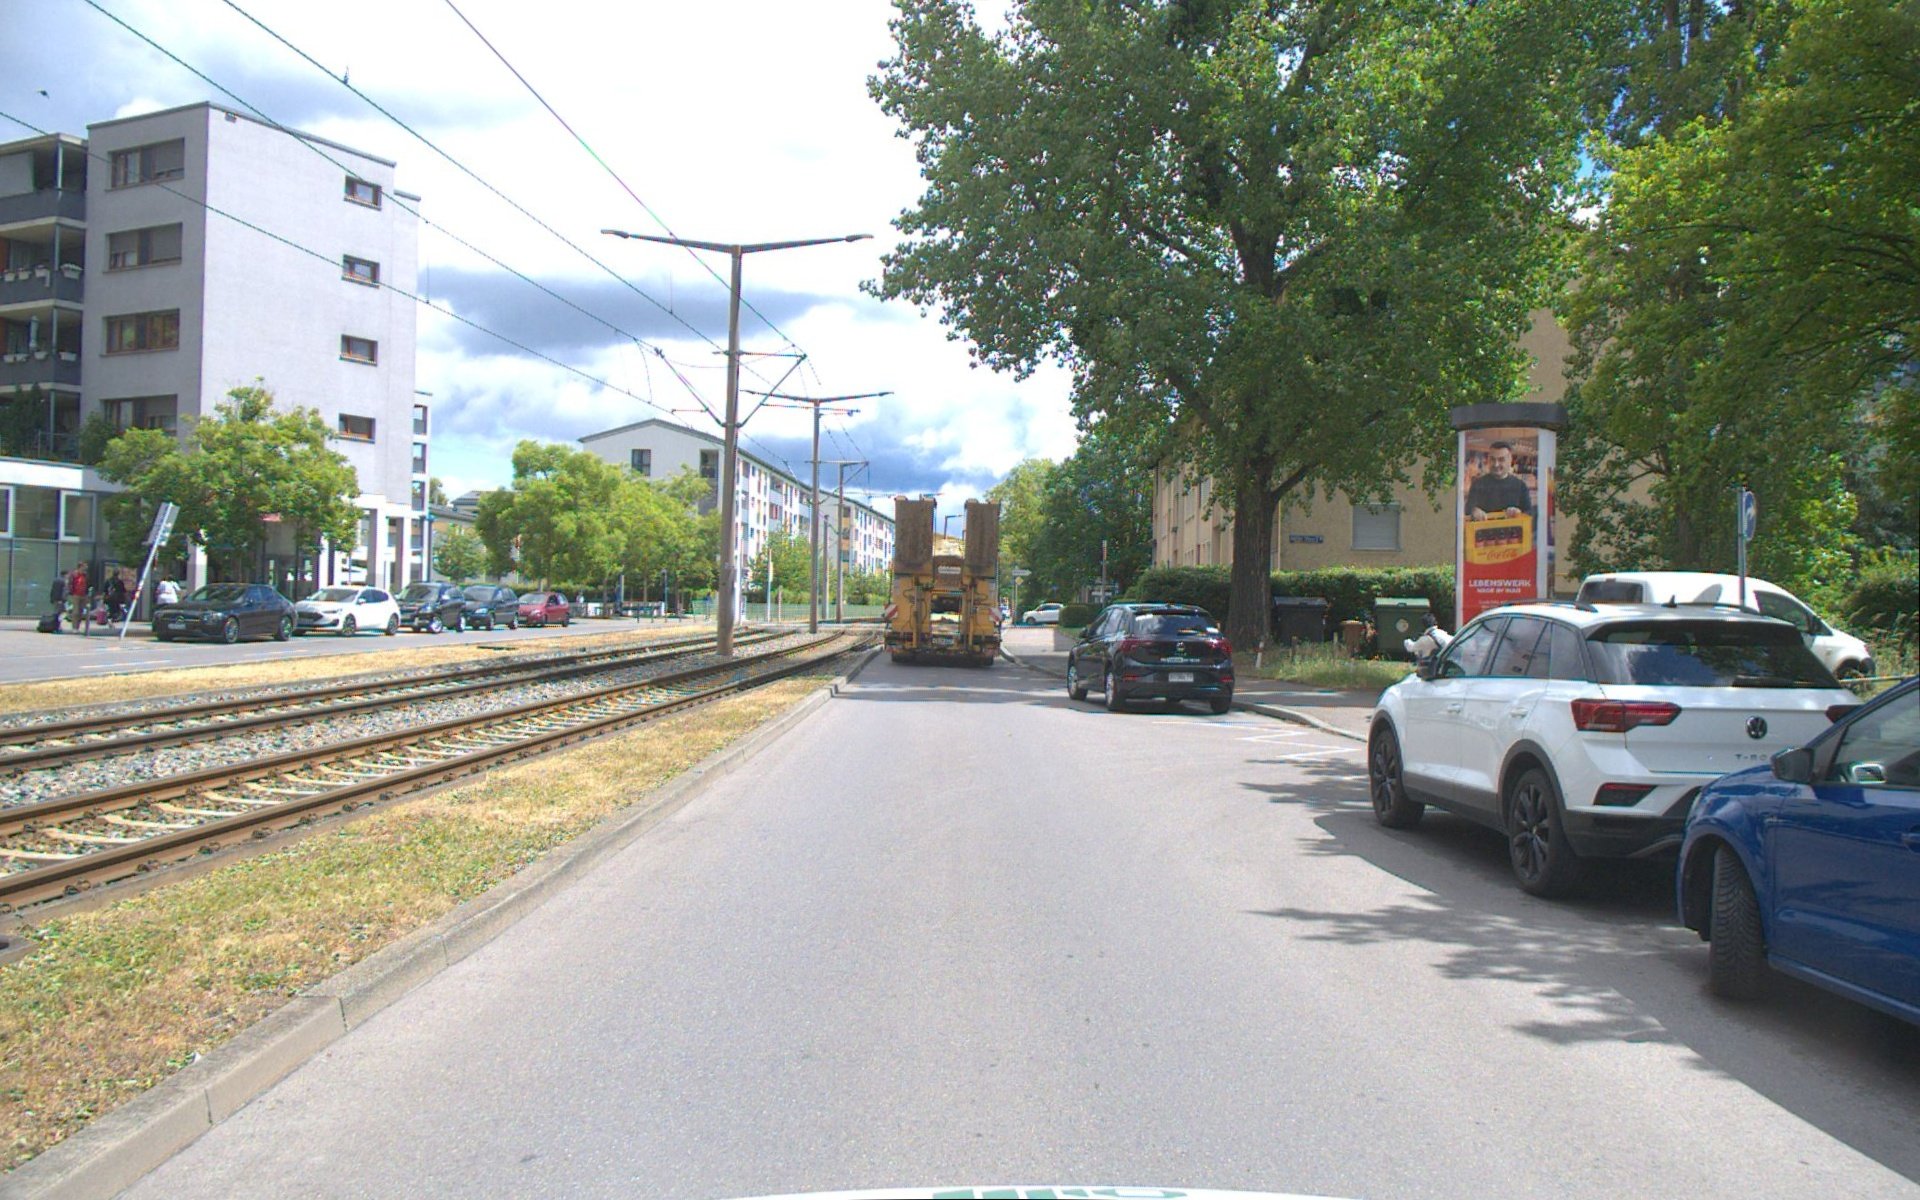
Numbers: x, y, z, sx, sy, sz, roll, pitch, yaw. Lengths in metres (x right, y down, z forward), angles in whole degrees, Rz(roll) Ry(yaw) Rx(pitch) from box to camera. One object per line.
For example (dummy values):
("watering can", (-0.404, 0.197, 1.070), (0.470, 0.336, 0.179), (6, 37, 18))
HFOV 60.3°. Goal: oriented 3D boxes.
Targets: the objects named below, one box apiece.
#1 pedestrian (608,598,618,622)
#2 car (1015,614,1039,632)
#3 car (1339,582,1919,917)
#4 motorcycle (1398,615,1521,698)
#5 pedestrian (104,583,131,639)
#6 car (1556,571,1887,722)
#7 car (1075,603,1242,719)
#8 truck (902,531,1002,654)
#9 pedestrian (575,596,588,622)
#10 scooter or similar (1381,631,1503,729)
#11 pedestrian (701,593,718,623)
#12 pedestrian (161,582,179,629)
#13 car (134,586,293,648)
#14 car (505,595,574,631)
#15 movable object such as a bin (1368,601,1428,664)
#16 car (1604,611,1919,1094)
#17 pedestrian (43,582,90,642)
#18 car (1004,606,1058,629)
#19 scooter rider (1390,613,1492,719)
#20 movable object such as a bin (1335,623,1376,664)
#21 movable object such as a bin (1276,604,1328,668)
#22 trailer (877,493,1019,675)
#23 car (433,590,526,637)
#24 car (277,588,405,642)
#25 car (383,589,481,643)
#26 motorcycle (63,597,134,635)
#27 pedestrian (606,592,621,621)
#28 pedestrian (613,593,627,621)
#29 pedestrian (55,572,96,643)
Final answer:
("pedestrian", (-19.123, 0.543, 91.180), (0.492, 1.289, 0.497), (0, 0, -21))
("car", (5.557, 1.908, 137.299), (1.952, 1.411, 4.001), (0, 0, 1))
("car", (3.852, 0.696, 10.217), (1.748, 1.592, 4.567), (0, 0, -3))
("motorcycle", (7.708, 0.854, 25.539), (1.769, 1.231, 0.708), (0, 0, -21))
("pedestrian", (-24.232, 0.306, 47.570), (0.655, 1.601, 0.683), (0, 0, -26))
("car", (10.047, 0.554, 21.845), (3.931, 1.854, 1.799), (0, 0, -22))
("car", (2.702, 0.790, 23.343), (1.778, 1.474, 3.825), (0, 0, -2))
("truck", (-0.248, -0.233, 49.821), (2.776, 3.388, 7.983), (0, 0, 0))
("pedestrian", (-22.830, 0.524, 99.814), (0.533, 1.574, 0.528), (0, 0, 23))
("scooter or similar", (5.941, 0.959, 20.510), (0.872, 1.083, 2.114), (0, 1, -1))
("pedestrian", (-14.316, 0.444, 94.473), (0.733, 1.691, 0.870), (0, 0, 6))
("pedestrian", (-24.912, 0.171, 52.152), (0.491, 1.485, 0.556), (0, 0, -26))
("car", (-18.466, 0.395, 41.151), (1.698, 1.453, 4.382), (0, 0, 4))
("car", (-17.275, 0.524, 68.073), (1.579, 1.451, 3.426), (0, 0, 8))
("movable object such as a bin", (10.350, 0.761, 39.143), (1.145, 1.464, 1.057), (0, 0, -1))
("car", (3.835, 0.815, 5.572), (1.611, 1.483, 4.074), (-1, 0, -2))
("pedestrian", (-23.515, 0.303, 43.533), (0.588, 1.560, 0.974), (0, 0, 14))
("car", (5.097, 1.288, 118.557), (3.521, 1.612, 2.001), (0, -1, 14))
("scooter rider", (5.940, 0.800, 20.492), (0.867, 1.241, 1.282), (0, 1, -1))
("movable object such as a bin", (9.325, 1.025, 39.022), (0.786, 0.931, 0.761), (0, 0, -1))
("movable object such as a bin", (8.036, 0.840, 38.891), (1.075, 1.464, 0.761), (0, 0, -1))
("trailer", (-0.287, -0.383, 40.802), (2.988, 3.838, 11.611), (0, 0, 0))
("car", (-17.658, 0.472, 60.986), (1.951, 1.677, 4.102), (0, 0, 4))
("car", (-18.253, 0.407, 48.982), (1.717, 1.501, 4.403), (0, 0, 7))
("car", (-17.595, 0.496, 55.318), (1.953, 1.691, 4.099), (2, 0, 0))
("motorcycle", (-27.243, 0.501, 52.329), (1.853, 1.199, 0.741), (0, 0, -1))
("pedestrian", (-19.271, 0.349, 92.047), (0.609, 1.600, 0.698), (0, 0, 13))
("pedestrian", (-19.076, 0.399, 92.870), (0.609, 1.600, 0.558), (0, 0, 13))
("pedestrian", (-22.936, 0.193, 42.894), (0.598, 1.824, 0.843), (0, 0, 1))
